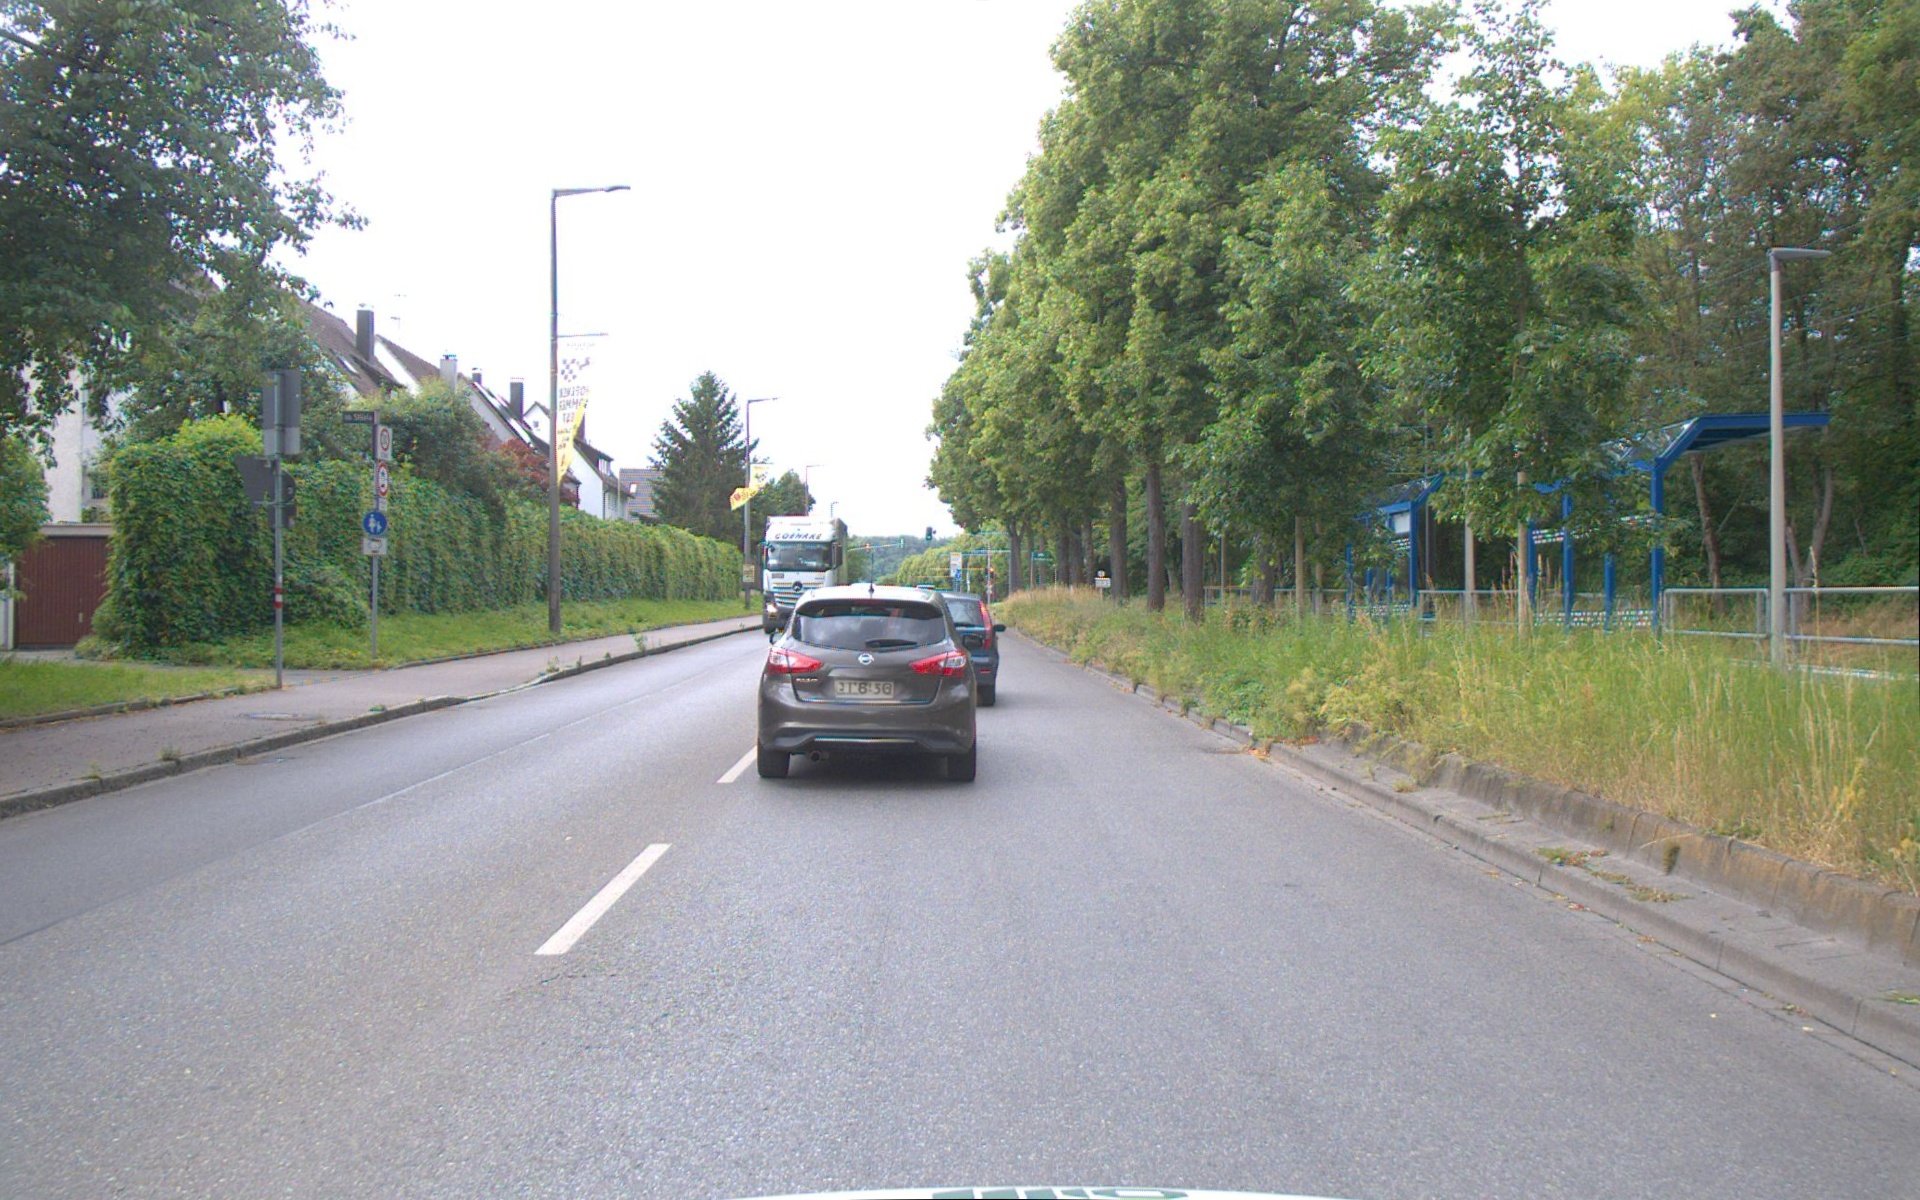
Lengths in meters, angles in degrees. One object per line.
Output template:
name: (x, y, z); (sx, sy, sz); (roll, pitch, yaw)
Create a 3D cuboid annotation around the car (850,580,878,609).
car: (-6.717, -0.355, 115.843); (1.869, 1.966, 4.908); (-1, 0, -3)

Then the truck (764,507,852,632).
truck: (-5.435, -1.010, 60.757); (2.498, 4.114, 10.615); (-2, 0, -2)

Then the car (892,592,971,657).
car: (-0.667, 0.532, 38.664); (1.756, 1.421, 3.999); (0, 0, -1)

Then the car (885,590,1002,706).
car: (-0.241, 0.610, 23.253); (1.507, 1.504, 3.763); (0, 0, -1)

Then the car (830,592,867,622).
car: (-5.531, 0.319, 82.541); (1.698, 1.399, 4.238); (-1, 0, -2)

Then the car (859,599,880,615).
car: (-7.908, 0.604, 144.897); (1.848, 1.407, 4.488); (-1, 0, -3)

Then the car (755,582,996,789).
car: (-0.671, 0.628, 14.628); (1.798, 1.545, 4.482); (0, 0, -1)
